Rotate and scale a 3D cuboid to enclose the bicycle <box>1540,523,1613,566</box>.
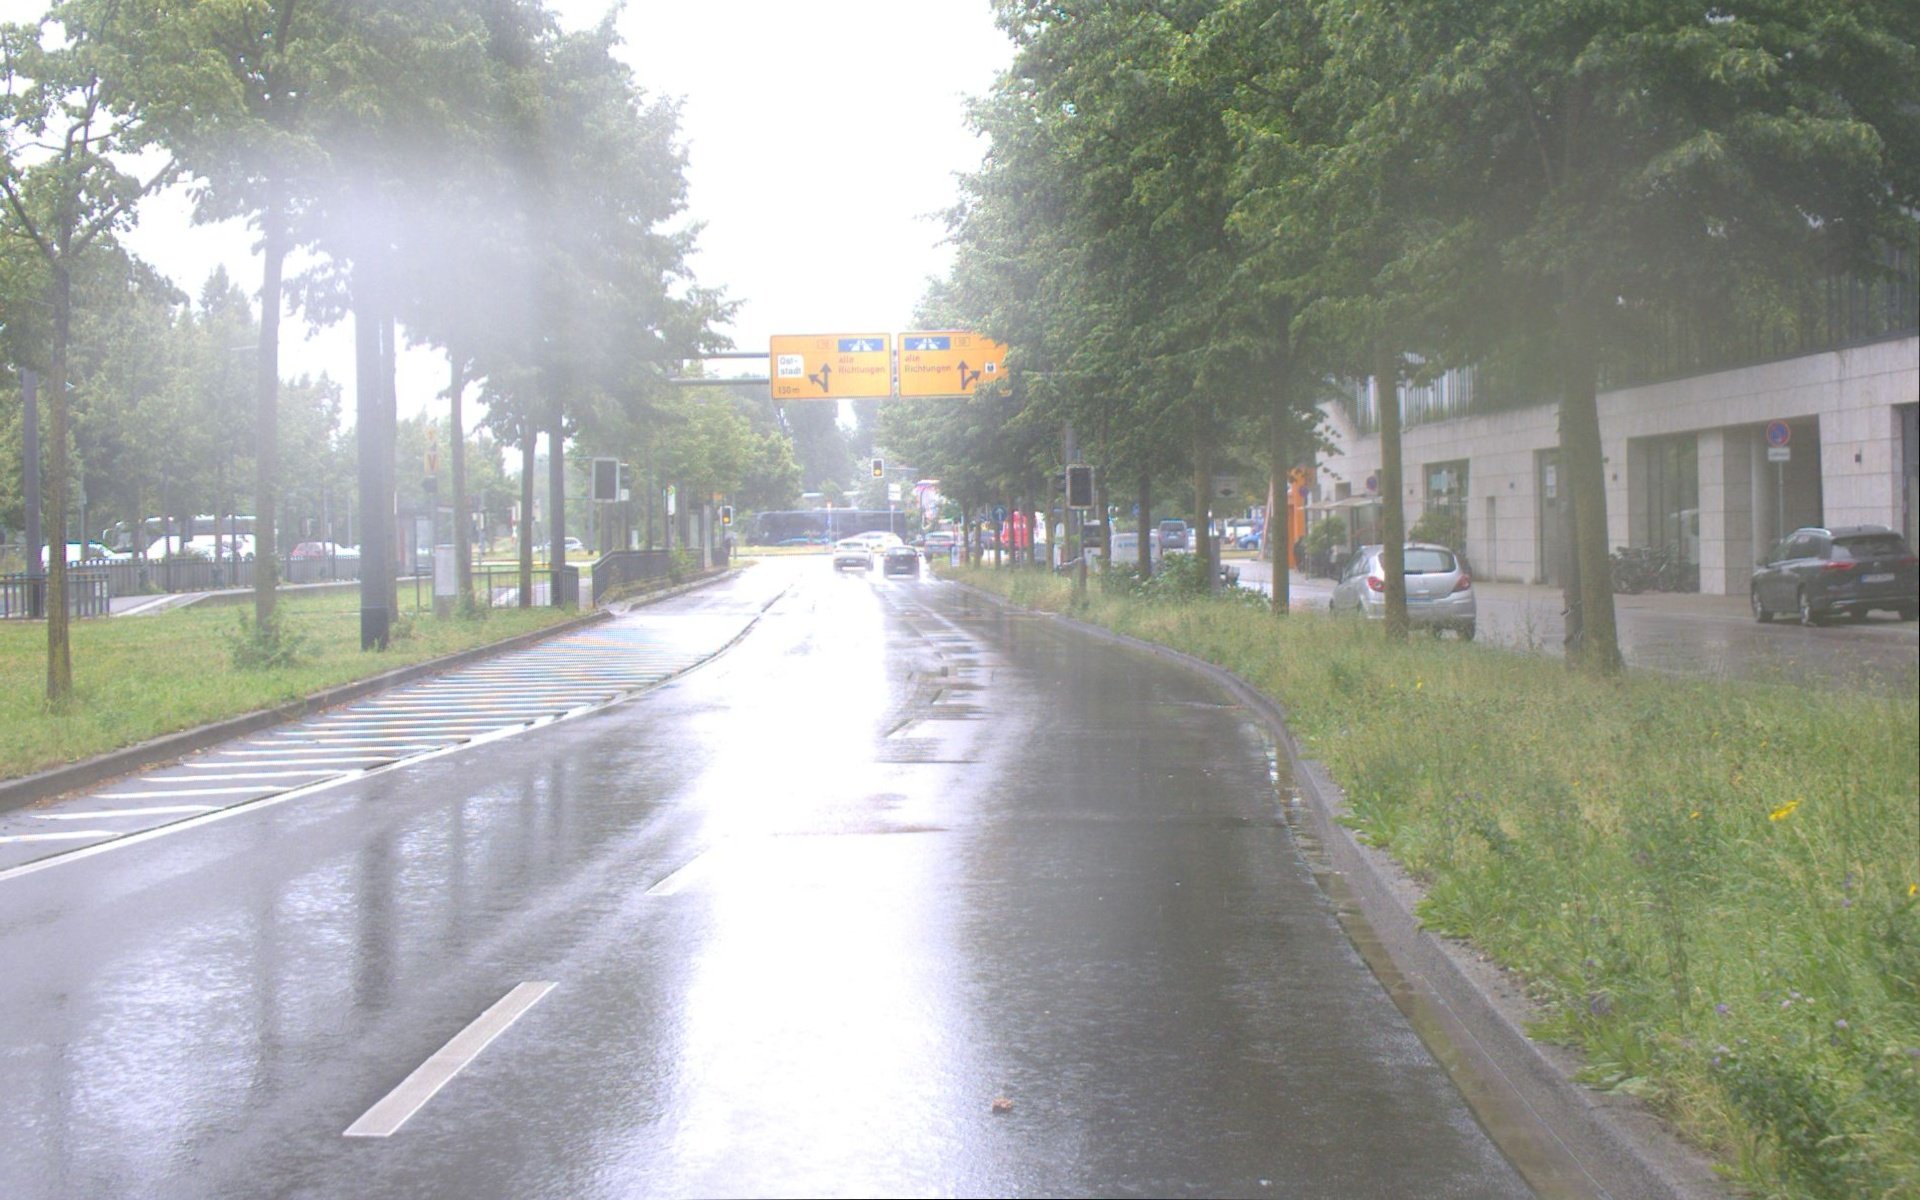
[{"bbox_3d":[15.021,-1.357,83.829,1.694,1.025,0.423,-1,1,1],"label":"bicycle"}]

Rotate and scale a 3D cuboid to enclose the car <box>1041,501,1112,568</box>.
[{"bbox_3d":[4.032,-2.296,119.515,2.121,2.266,4.565,-1,1,-2],"label":"car"}]

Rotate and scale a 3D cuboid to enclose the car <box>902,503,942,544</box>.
[{"bbox_3d":[-2.070,-4.171,187.053,1.993,2.006,4.001,-1,4,2],"label":"car"}]

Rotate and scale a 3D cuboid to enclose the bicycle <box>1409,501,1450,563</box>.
[{"bbox_3d":[13.894,-2.030,101.730,0.644,1.716,3.121,-1,4,-2],"label":"bicycle"}]

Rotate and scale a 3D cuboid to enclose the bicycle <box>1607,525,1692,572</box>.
[{"bbox_3d":[15.447,-1.152,77.067,1.806,1.025,0.401,-1,1,1],"label":"bicycle"}]

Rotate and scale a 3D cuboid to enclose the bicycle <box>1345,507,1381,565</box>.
[{"bbox_3d":[13.090,-2.096,111.739,0.644,1.716,3.121,-1,4,-2],"label":"bicycle"}]

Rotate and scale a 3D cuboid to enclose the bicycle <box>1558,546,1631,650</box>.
[{"bbox_3d":[5.688,-0.032,30.848,0.342,0.819,1.902,-1,4,1],"label":"bicycle"}]

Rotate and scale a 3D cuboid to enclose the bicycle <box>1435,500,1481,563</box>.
[{"bbox_3d":[14.690,-2.023,101.441,0.772,1.716,3.121,-1,4,-2],"label":"bicycle"}]

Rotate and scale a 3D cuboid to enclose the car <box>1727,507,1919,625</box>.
[{"bbox_3d":[13.523,-0.571,53.334,1.993,1.496,5.034,-5,2,0],"label":"car"}]

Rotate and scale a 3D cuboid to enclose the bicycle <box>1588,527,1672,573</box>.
[{"bbox_3d":[15.383,-1.157,78.950,1.806,1.025,0.541,-1,1,1],"label":"bicycle"}]

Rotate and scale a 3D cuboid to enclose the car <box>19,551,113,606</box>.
[{"bbox_3d":[-24.033,-0.590,92.542,1.548,1.261,4.853,-1,3,-4],"label":"car"}]

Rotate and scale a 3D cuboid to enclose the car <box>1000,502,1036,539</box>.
[{"bbox_3d":[3.432,-4.708,202.820,1.993,2.006,4.001,-1,4,-1],"label":"car"}]

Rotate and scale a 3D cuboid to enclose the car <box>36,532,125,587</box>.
[{"bbox_3d":[-23.682,-1.073,92.662,1.488,1.293,4.977,-2,-1,-5],"label":"car"}]

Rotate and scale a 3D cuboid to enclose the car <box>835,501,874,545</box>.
[{"bbox_3d":[-5.287,-3.867,171.858,1.888,2.006,4.001,-1,4,-2],"label":"car"}]

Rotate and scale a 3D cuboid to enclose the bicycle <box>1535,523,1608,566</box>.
[{"bbox_3d":[15.001,-1.356,84.340,1.694,1.025,0.423,-1,1,1],"label":"bicycle"}]

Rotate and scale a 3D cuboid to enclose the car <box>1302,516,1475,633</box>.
[{"bbox_3d":[6.445,-0.428,52.138,1.881,1.500,4.725,-1,4,-2],"label":"car"}]

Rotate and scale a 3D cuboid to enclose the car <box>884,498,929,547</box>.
[{"bbox_3d":[-2.403,-3.478,154.097,1.940,2.006,4.001,-1,4,-2],"label":"car"}]

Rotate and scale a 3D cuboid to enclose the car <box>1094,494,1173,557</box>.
[{"bbox_3d":[5.074,-2.196,101.007,1.906,1.785,4.689,-1,1,-2],"label":"car"}]

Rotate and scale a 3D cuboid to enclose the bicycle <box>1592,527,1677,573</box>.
[{"bbox_3d":[15.371,-1.148,78.343,1.806,1.025,0.541,-1,1,1],"label":"bicycle"}]
